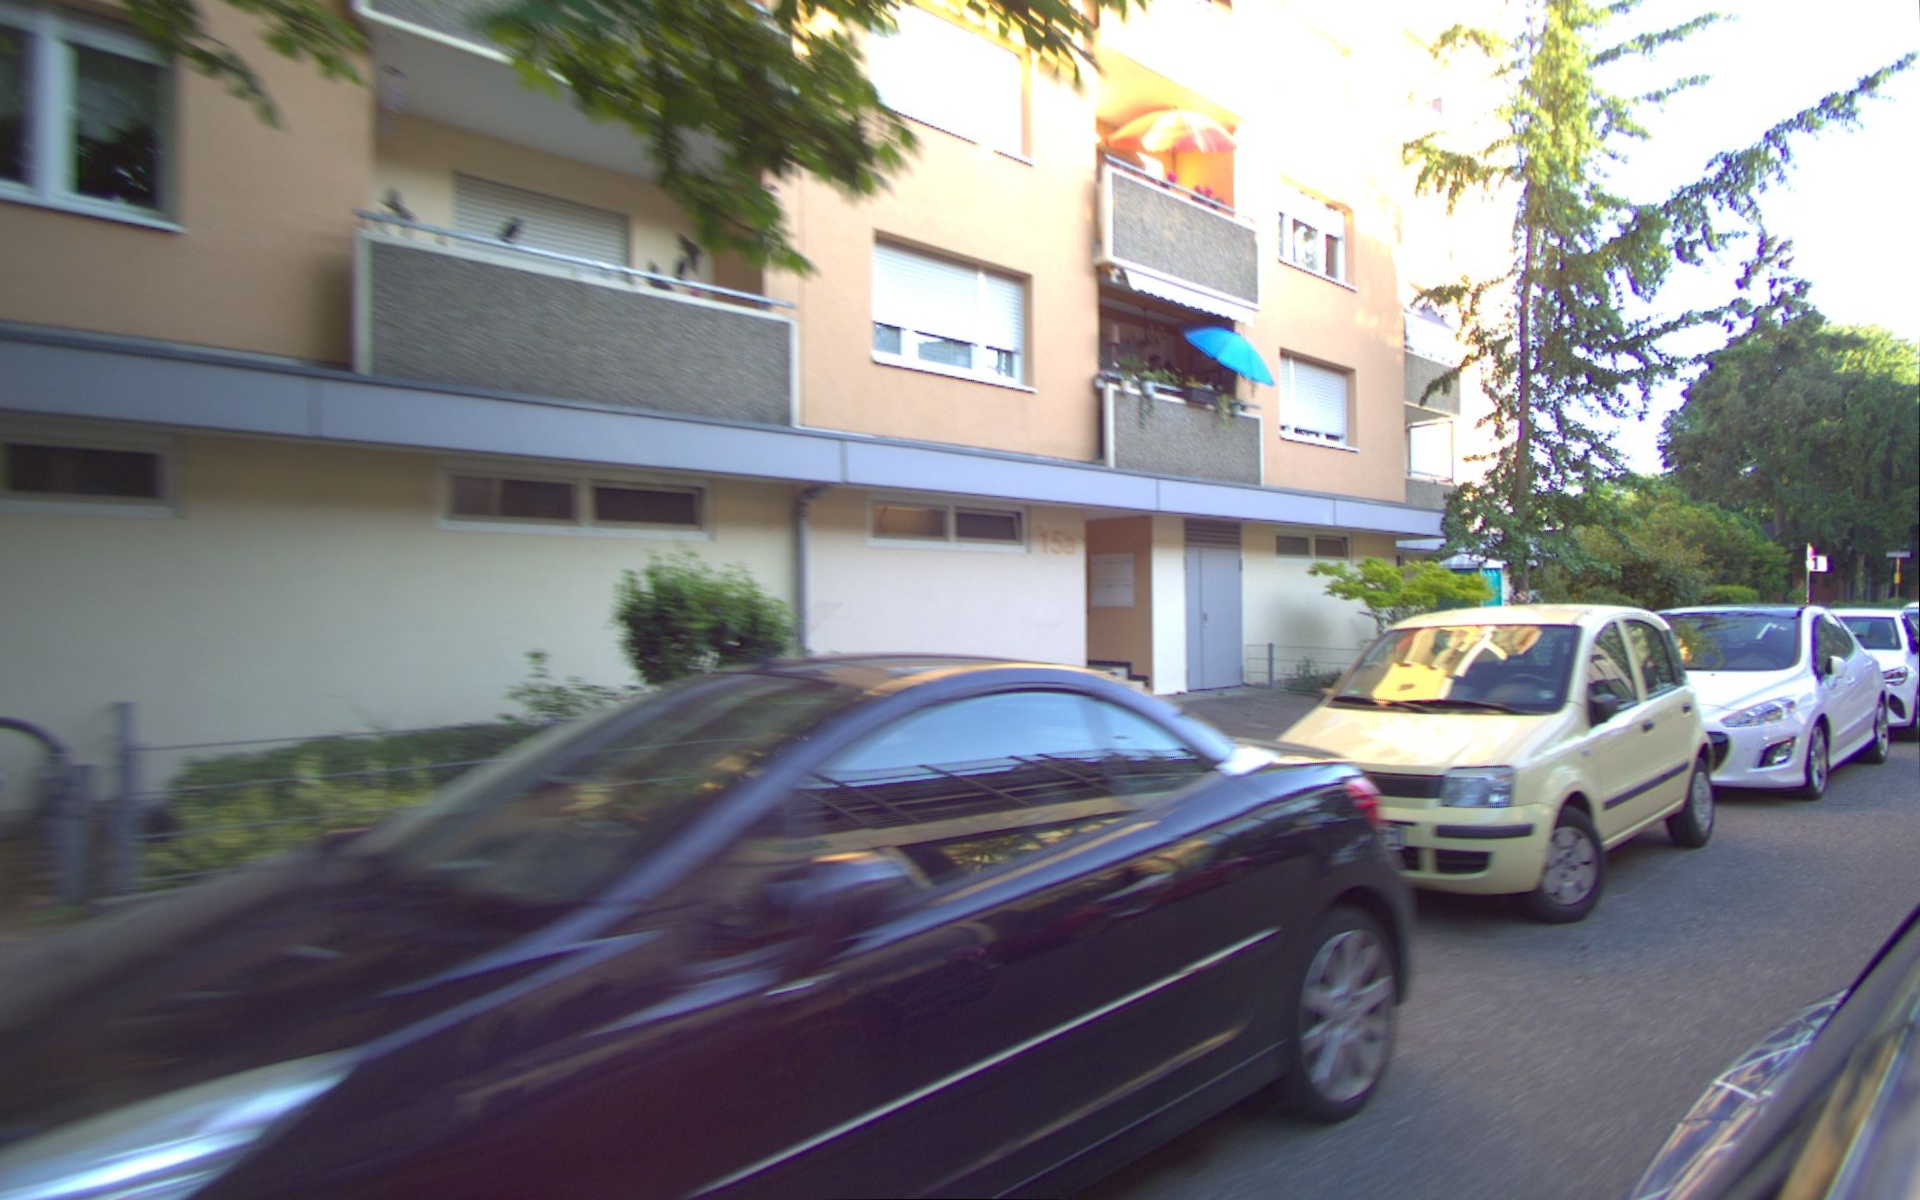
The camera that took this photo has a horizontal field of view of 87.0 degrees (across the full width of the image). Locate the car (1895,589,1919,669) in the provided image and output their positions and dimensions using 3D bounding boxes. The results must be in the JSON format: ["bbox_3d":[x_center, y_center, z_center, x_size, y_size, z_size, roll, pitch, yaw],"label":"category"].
[{"bbox_3d":[19.153,0.528,19.050,3.826,1.435,1.813,0,0,-40],"label":"car"}]

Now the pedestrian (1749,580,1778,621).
[{"bbox_3d":[35.817,0.025,45.114,0.819,1.746,0.852,4,3,31],"label":"pedestrian"}]

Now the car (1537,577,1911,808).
[{"bbox_3d":[6.890,0.637,8.970,4.119,1.582,1.795,0,0,-40],"label":"car"}]

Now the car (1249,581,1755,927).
[{"bbox_3d":[3.449,0.683,6.213,3.416,1.530,1.612,0,0,-40],"label":"car"}]

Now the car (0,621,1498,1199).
[{"bbox_3d":[-0.268,0.776,2.717,3.927,1.399,1.610,1,-1,-39],"label":"car"}]

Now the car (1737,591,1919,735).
[{"bbox_3d":[10.920,0.654,12.250,3.982,1.480,1.612,0,0,-40],"label":"car"}]

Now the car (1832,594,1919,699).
[{"bbox_3d":[14.831,0.638,15.315,4.544,1.435,1.813,0,0,-40],"label":"car"}]
